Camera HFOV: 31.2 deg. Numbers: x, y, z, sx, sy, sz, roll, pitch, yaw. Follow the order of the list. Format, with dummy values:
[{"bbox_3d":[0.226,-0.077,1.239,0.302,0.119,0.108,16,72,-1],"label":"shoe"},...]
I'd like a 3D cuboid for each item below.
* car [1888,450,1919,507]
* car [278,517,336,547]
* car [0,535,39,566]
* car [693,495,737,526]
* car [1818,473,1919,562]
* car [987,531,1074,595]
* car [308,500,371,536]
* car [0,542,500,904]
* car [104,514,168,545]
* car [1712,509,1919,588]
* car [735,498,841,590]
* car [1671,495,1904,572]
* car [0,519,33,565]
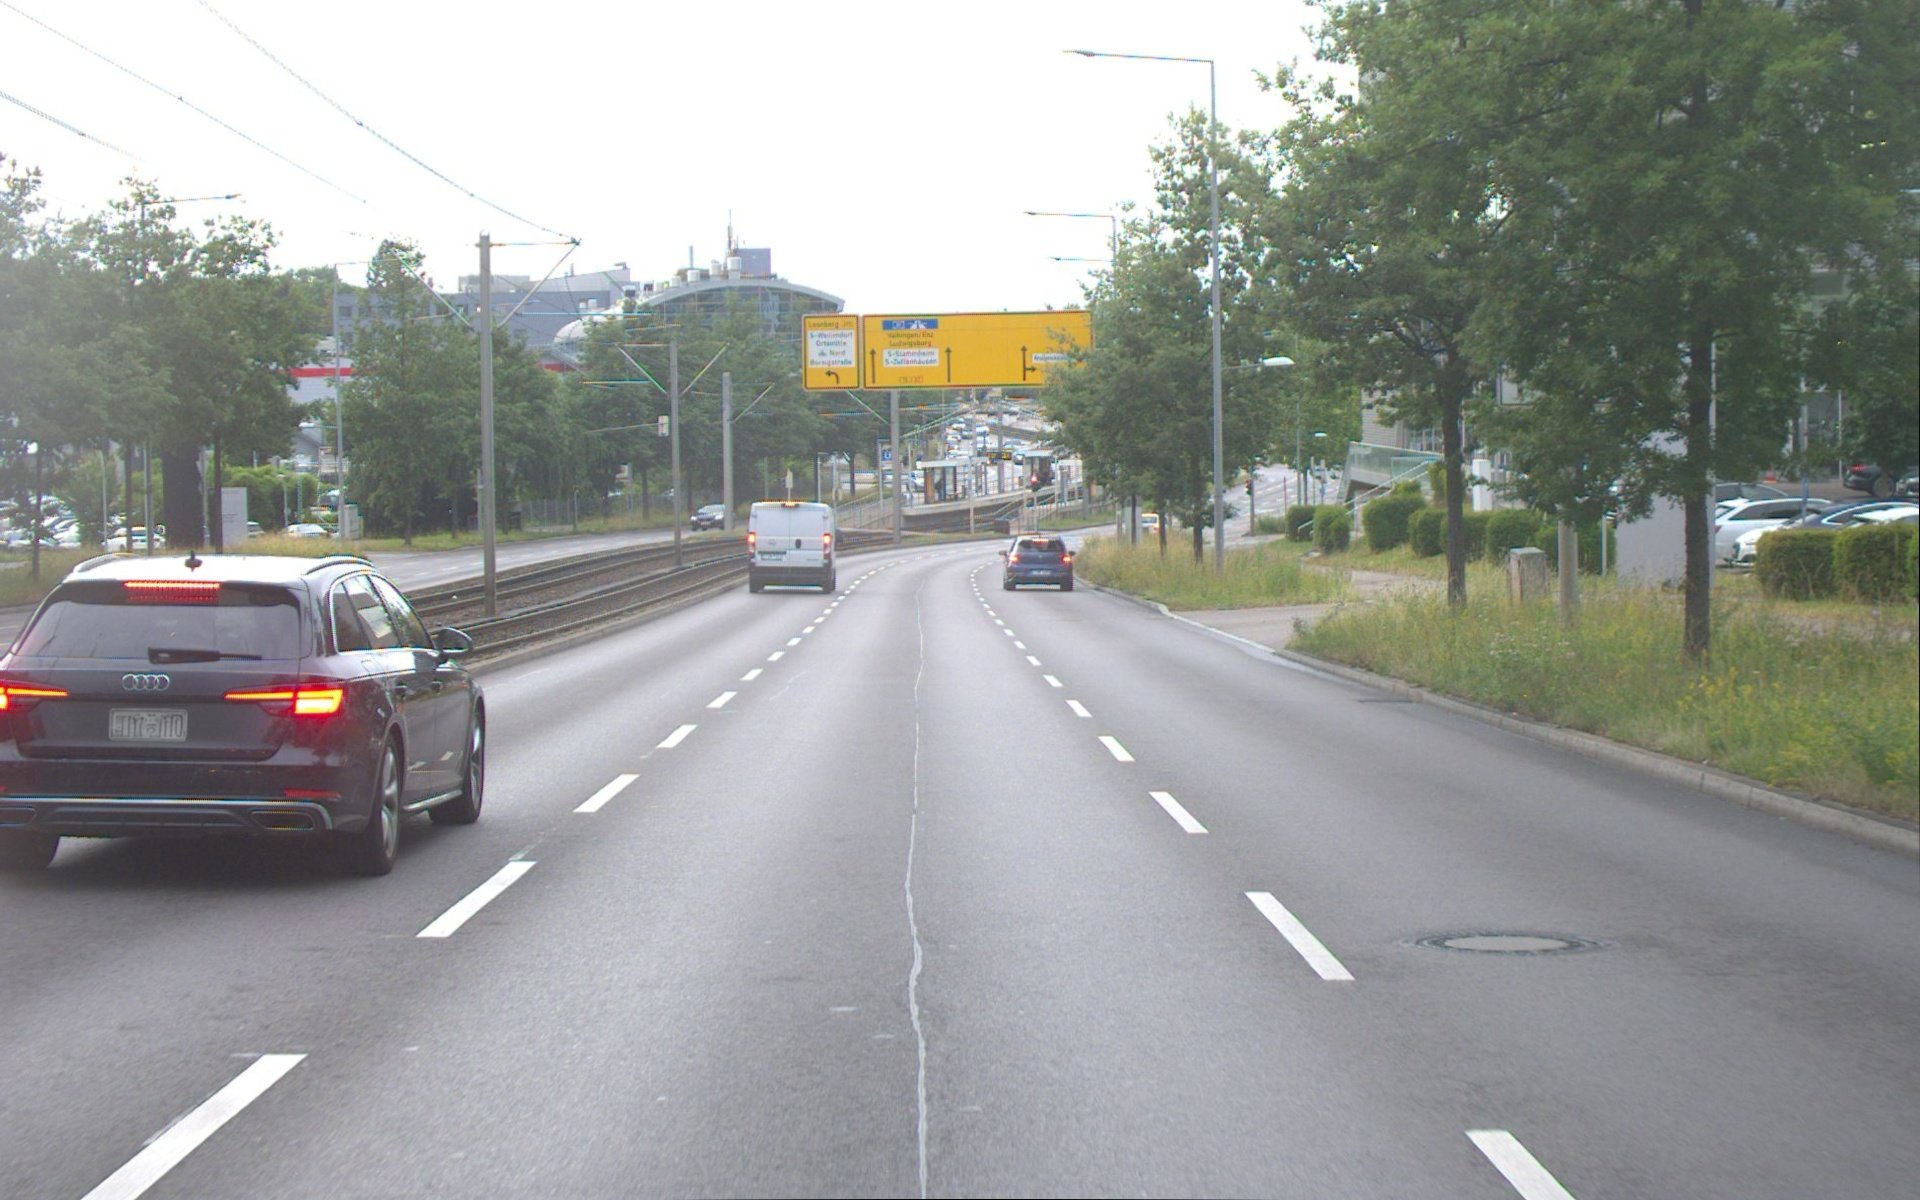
[{"bbox_3d":[28.176,-3.368,95.835,4.105,1.568,1.760,0,2,-1],"label":"car"},{"bbox_3d":[-33.805,-3.498,177.920,1.993,1.505,4.001,1,1,-26],"label":"car"},{"bbox_3d":[-46.965,-2.482,170.946,1.751,1.489,4.001,1,1,-22],"label":"car"},{"bbox_3d":[-13.292,-4.874,186.863,1.883,1.515,4.403,-3,2,2],"label":"car"},{"bbox_3d":[18.171,-1.501,63.457,4.104,1.588,1.949,0,0,-9],"label":"car"},{"bbox_3d":[1.846,-0.983,91.299,2.021,1.617,4.000,1,1,-3],"label":"car"},{"bbox_3d":[-29.377,-3.879,162.887,1.994,1.645,3.999,1,1,4],"label":"car"},{"bbox_3d":[-3.383,0.470,16.522,1.764,1.458,4.627,1,1,-1],"label":"car"},{"bbox_3d":[-41.840,-3.580,174.576,1.993,1.505,4.000,1,1,-32],"label":"car"},{"bbox_3d":[17.808,-1.066,71.122,4.105,1.588,1.693,0,0,-1],"label":"car"},{"bbox_3d":[-4.299,-1.390,85.959,2.511,2.169,5.150,1,1,-3],"label":"car"},{"bbox_3d":[17.588,-1.405,73.177,4.519,1.588,1.693,0,0,-1],"label":"car"},{"bbox_3d":[-37.971,-2.258,132.644,3.986,1.744,2.001,1,1,-6],"label":"car"}]
